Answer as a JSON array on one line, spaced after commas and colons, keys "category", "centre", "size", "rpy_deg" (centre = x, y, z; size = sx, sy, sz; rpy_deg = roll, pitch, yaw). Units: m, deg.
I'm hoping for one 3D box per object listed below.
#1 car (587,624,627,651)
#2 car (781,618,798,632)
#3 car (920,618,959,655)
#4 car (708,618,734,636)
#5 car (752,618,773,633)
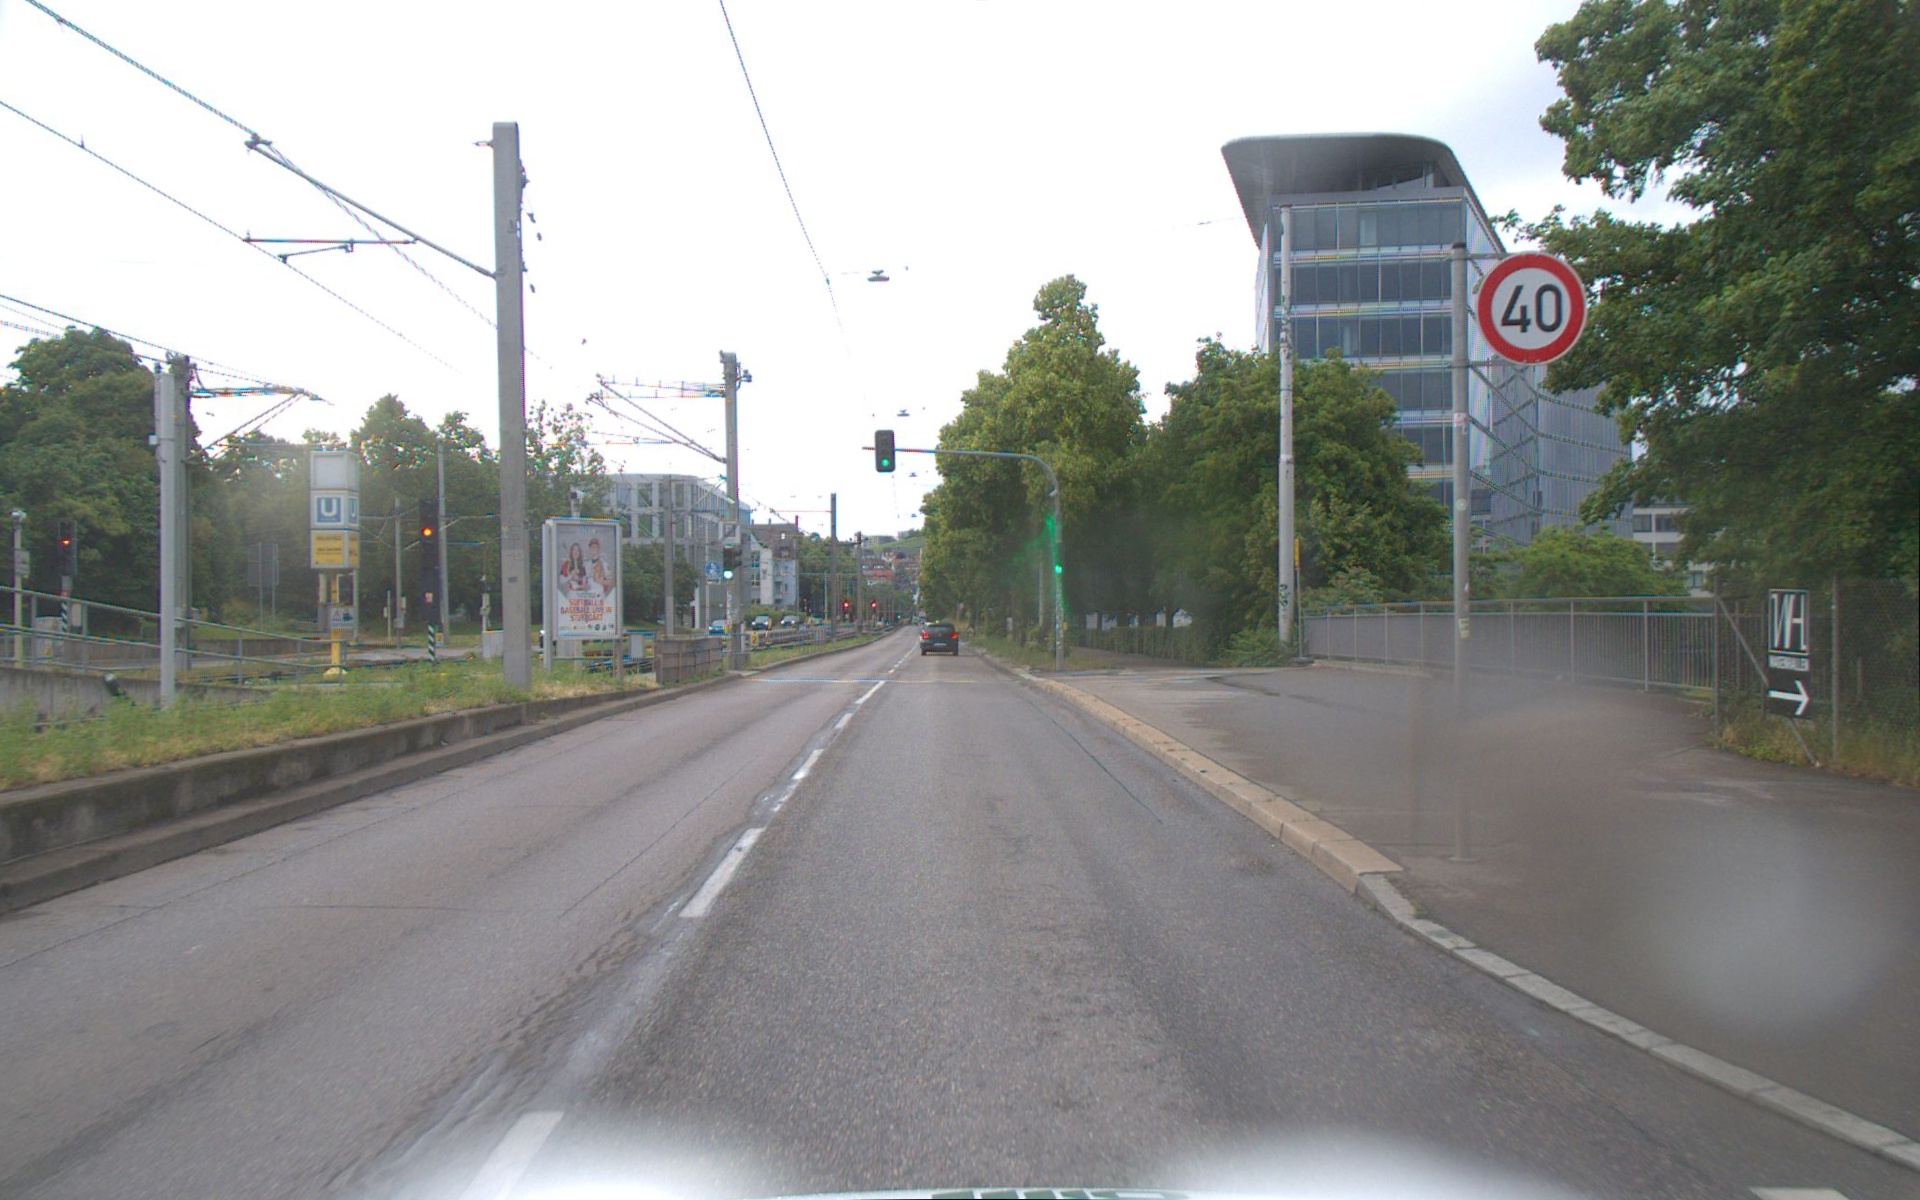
[{"category": "car", "centre": [-25.624, 2.702, 120.086], "size": [1.811, 1.660, 3.814], "rpy_deg": [2, 2, 4]}, {"category": "car", "centre": [-22.964, 3.328, 223.141], "size": [1.618, 1.660, 3.611], "rpy_deg": [2, 2, 4]}, {"category": "car", "centre": [-0.940, 1.604, 73.955], "size": [1.692, 1.567, 3.999], "rpy_deg": [1, 0, -1]}, {"category": "car", "centre": [-23.982, 2.699, 166.286], "size": [1.811, 1.660, 3.611], "rpy_deg": [2, 2, 3]}, {"category": "car", "centre": [-23.427, 3.018, 196.607], "size": [1.811, 1.660, 3.611], "rpy_deg": [2, 2, 3]}]
